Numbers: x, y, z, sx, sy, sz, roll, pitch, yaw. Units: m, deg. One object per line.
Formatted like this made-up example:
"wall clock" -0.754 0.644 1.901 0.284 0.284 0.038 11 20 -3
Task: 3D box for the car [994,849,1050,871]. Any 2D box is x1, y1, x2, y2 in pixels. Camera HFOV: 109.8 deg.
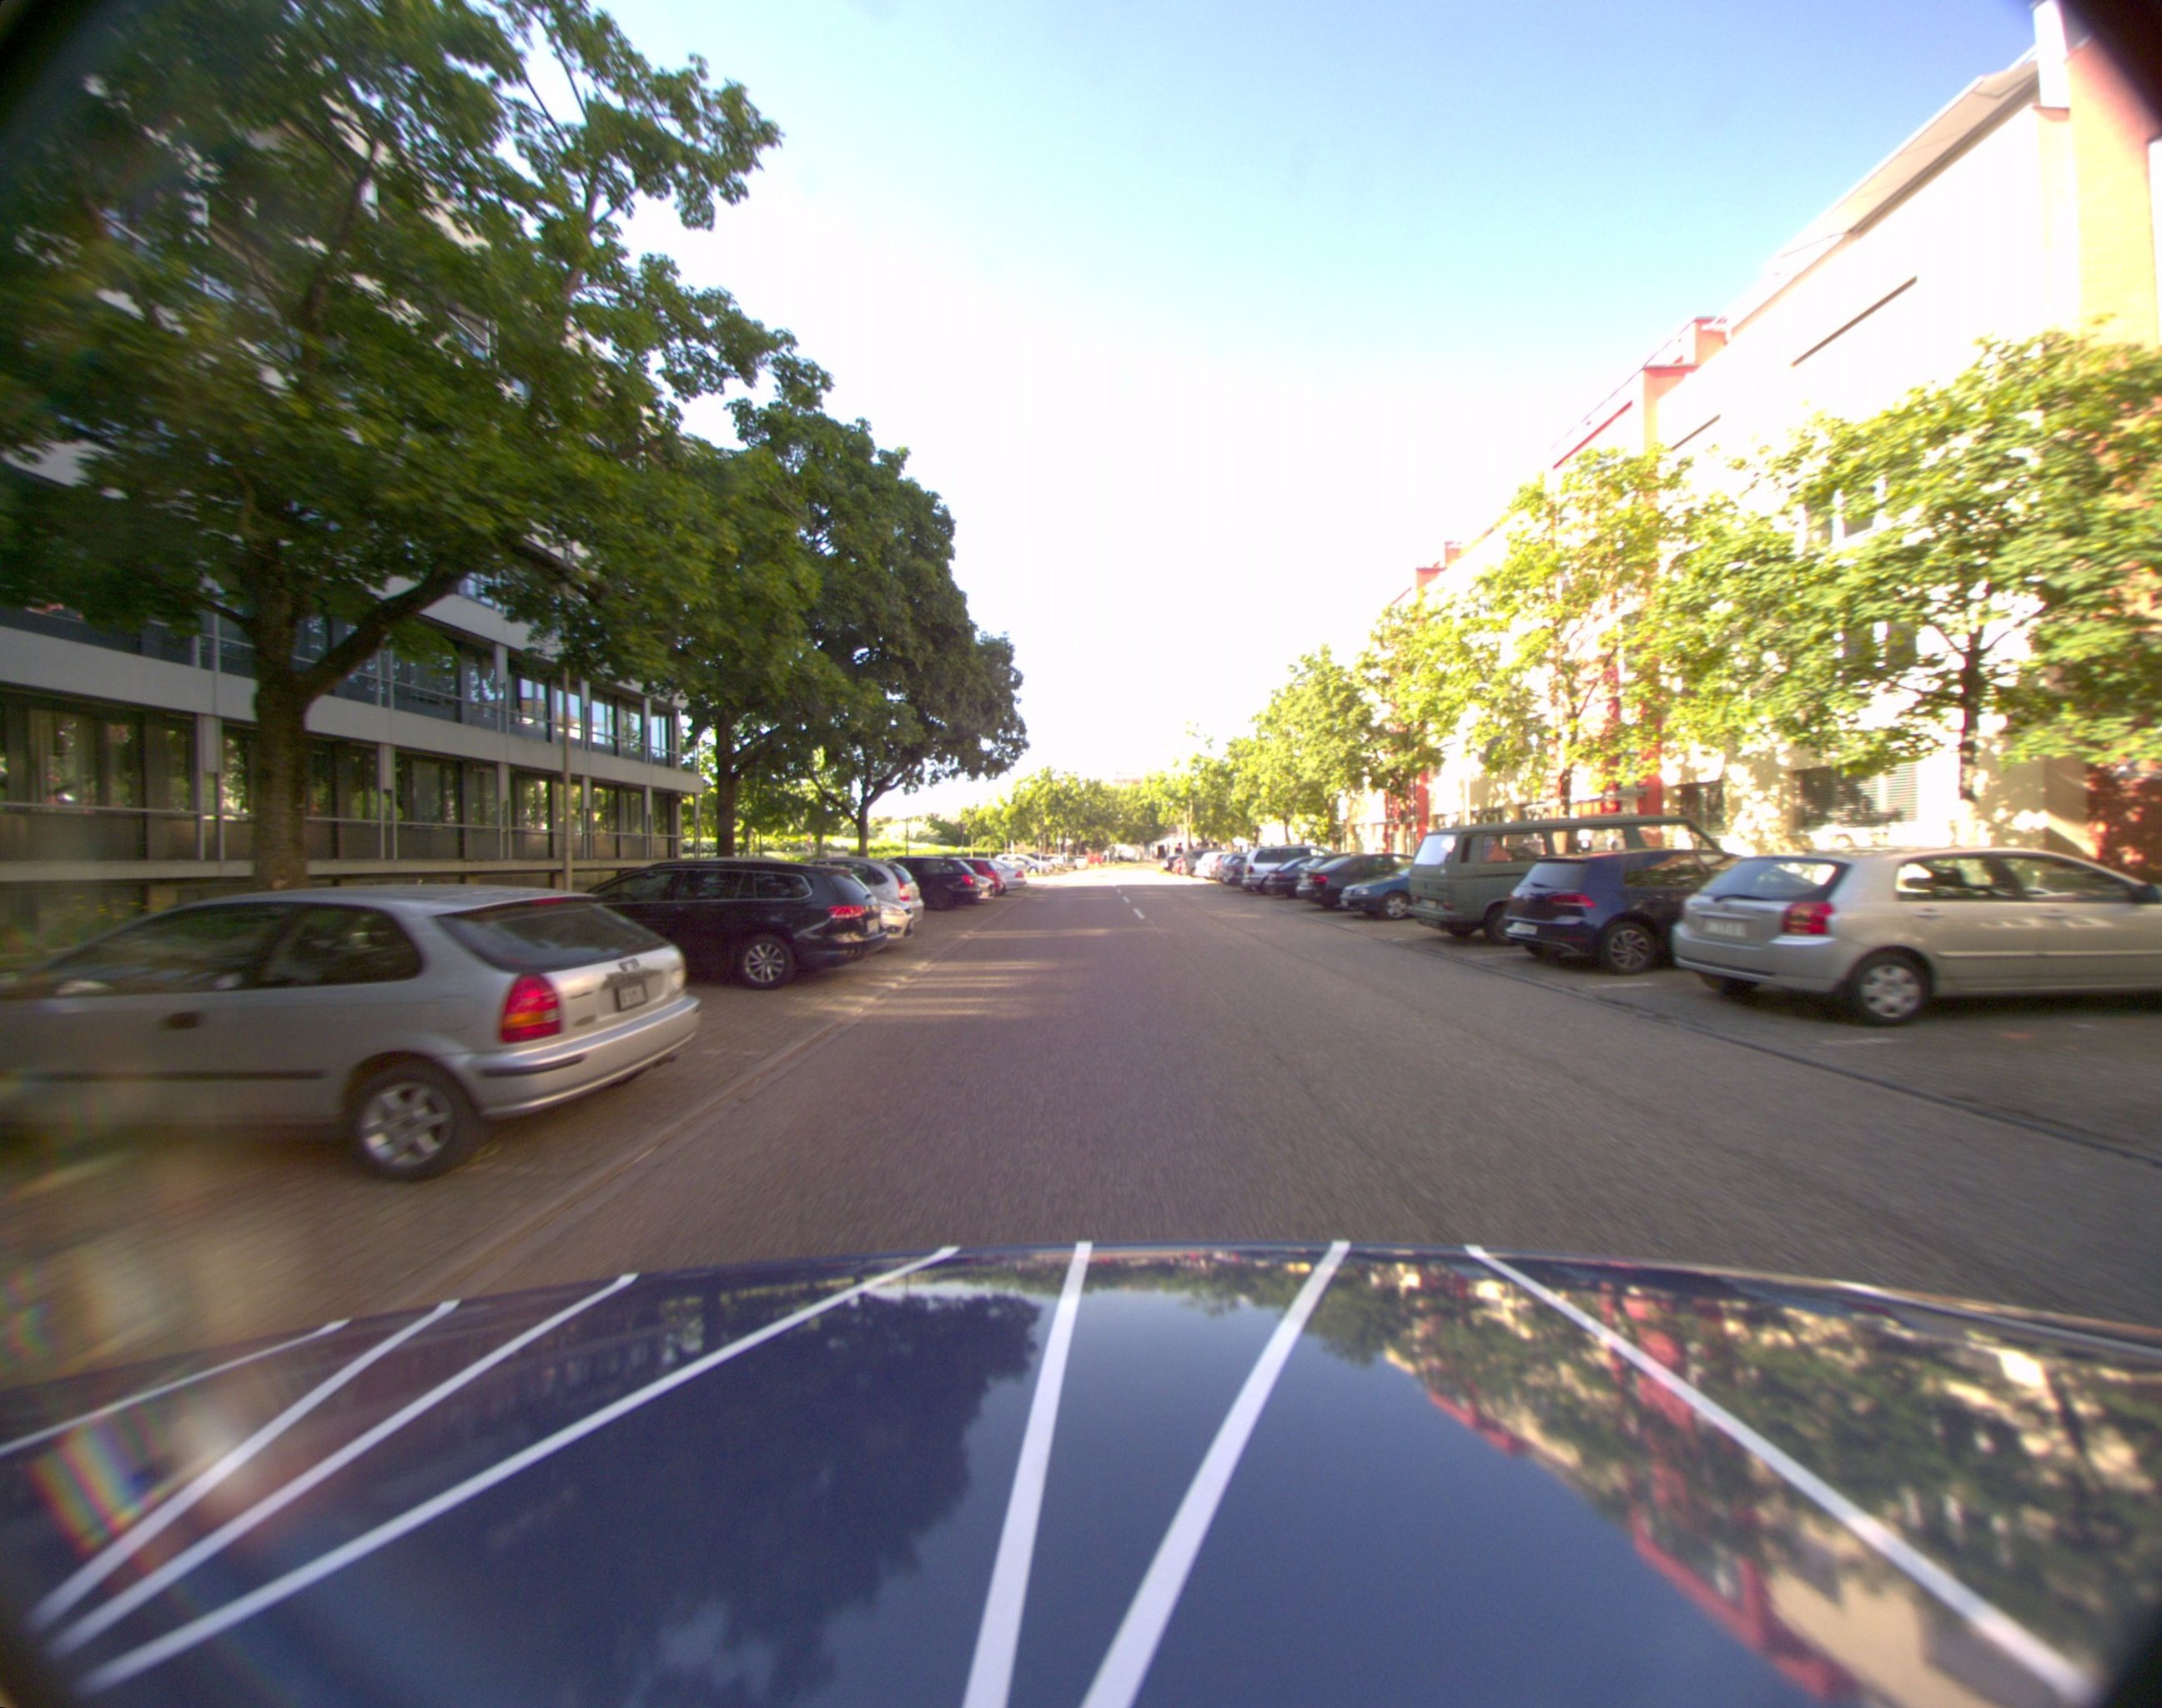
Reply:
"car" -4.413 0.470 57.221 3.957 1.506 1.701 2 1 2

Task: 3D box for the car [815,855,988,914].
"car" -5.004 0.830 21.701 4.528 1.533 1.921 1 1 -3

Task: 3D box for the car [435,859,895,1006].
"car" -4.796 0.881 9.284 4.603 1.484 1.762 2 1 -2

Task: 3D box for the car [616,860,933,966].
"car" -4.727 0.887 12.244 4.296 1.484 2.004 1 1 -1

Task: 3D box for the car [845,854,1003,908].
"car" -4.881 0.806 24.009 4.524 1.533 1.922 1 1 5

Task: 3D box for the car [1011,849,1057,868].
"car" -4.174 0.384 67.673 3.814 1.440 1.745 3 1 3

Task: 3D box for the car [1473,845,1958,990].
"car" 7.600 0.717 9.508 4.330 1.469 1.943 -2 0 3

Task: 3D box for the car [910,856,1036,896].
"car" -4.111 0.837 29.374 4.589 1.467 1.747 0 1 1

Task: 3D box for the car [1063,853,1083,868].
"car" -0.836 0.669 83.589 1.813 1.485 4.625 2 1 4

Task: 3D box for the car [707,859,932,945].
"car" -4.855 0.876 14.512 3.754 1.484 1.616 1 1 -4

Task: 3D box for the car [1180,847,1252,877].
"car" 7.900 0.432 44.667 3.901 1.565 1.859 -2 0 1

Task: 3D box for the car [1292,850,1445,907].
"car" 8.229 0.672 21.955 3.735 1.419 1.725 -2 0 0

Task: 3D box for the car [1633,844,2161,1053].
"car" 7.873 0.735 6.822 4.330 1.469 1.943 -2 0 3

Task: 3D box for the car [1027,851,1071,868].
"car" -3.140 0.571 75.258 4.096 1.421 1.643 3 1 8

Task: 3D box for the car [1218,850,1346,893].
"car" 7.667 0.638 29.211 4.414 1.419 1.772 -2 0 -1

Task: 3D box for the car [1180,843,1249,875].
"car" 8.240 0.302 47.121 3.901 1.801 1.786 -2 0 1

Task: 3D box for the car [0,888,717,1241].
"car" -4.434 0.971 4.229 3.979 1.412 1.710 1 1 1

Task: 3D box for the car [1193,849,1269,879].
"car" 8.217 0.535 41.967 3.736 1.439 1.875 -2 0 -3

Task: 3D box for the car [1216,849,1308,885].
"car" 8.209 0.572 34.699 3.735 1.419 1.841 -2 0 0

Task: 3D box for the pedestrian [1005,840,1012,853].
"pedestrian" -8.463 -0.930 89.322 0.607 1.533 0.937 0 1 8

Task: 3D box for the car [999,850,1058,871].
"car" -4.143 0.508 59.828 4.563 1.506 1.981 2 1 -5

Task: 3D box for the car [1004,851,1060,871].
"car" -4.138 0.588 64.949 4.560 1.506 2.158 2 1 1

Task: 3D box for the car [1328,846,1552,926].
"car" 7.865 0.681 16.922 4.142 1.519 1.725 -2 0 1

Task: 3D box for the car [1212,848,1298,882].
"car" 8.430 0.519 37.033 3.735 1.500 1.859 -2 0 0

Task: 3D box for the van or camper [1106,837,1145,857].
"van or camper" 7.463 -1.179 126.998 5.990 2.967 2.673 2 1 12

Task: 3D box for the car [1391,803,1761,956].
"car" 7.691 0.389 12.228 4.498 2.078 2.083 -2 0 3

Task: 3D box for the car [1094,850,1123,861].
"car" 4.257 0.185 116.834 4.199 1.537 1.861 2 1 14

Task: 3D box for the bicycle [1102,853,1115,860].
"bicycle" 3.834 0.336 107.111 1.752 0.985 0.531 1 1 25

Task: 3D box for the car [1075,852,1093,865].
"car" 0.389 0.532 91.125 1.646 1.485 3.768 2 1 9

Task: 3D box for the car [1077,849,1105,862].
"car" 1.413 0.202 104.750 3.438 1.535 1.629 3 1 14

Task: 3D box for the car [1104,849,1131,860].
"car" 6.039 0.059 124.354 4.155 1.537 1.860 2 1 11

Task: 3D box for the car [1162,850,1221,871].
"car" 8.210 0.468 56.756 4.272 1.415 1.740 -2 0 5

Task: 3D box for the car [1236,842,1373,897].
"car" 7.830 0.518 26.942 4.330 1.707 1.963 -2 0 6

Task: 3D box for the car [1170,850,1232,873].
"car" 8.166 0.503 52.001 3.901 1.415 1.739 -2 0 1

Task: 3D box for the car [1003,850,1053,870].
"car" -4.308 0.504 62.318 3.885 1.506 1.750 2 1 1

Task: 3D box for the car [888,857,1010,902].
"car" -4.570 0.851 26.687 3.846 1.439 1.922 1 1 5

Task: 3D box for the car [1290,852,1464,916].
"car" 7.474 0.725 19.433 3.735 1.419 1.725 -2 0 0

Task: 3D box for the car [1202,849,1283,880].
"car" 8.351 0.531 39.604 3.736 1.439 1.859 -2 0 -3

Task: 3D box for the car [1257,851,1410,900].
"car" 8.084 0.674 24.588 4.332 1.350 1.757 -2 0 0
